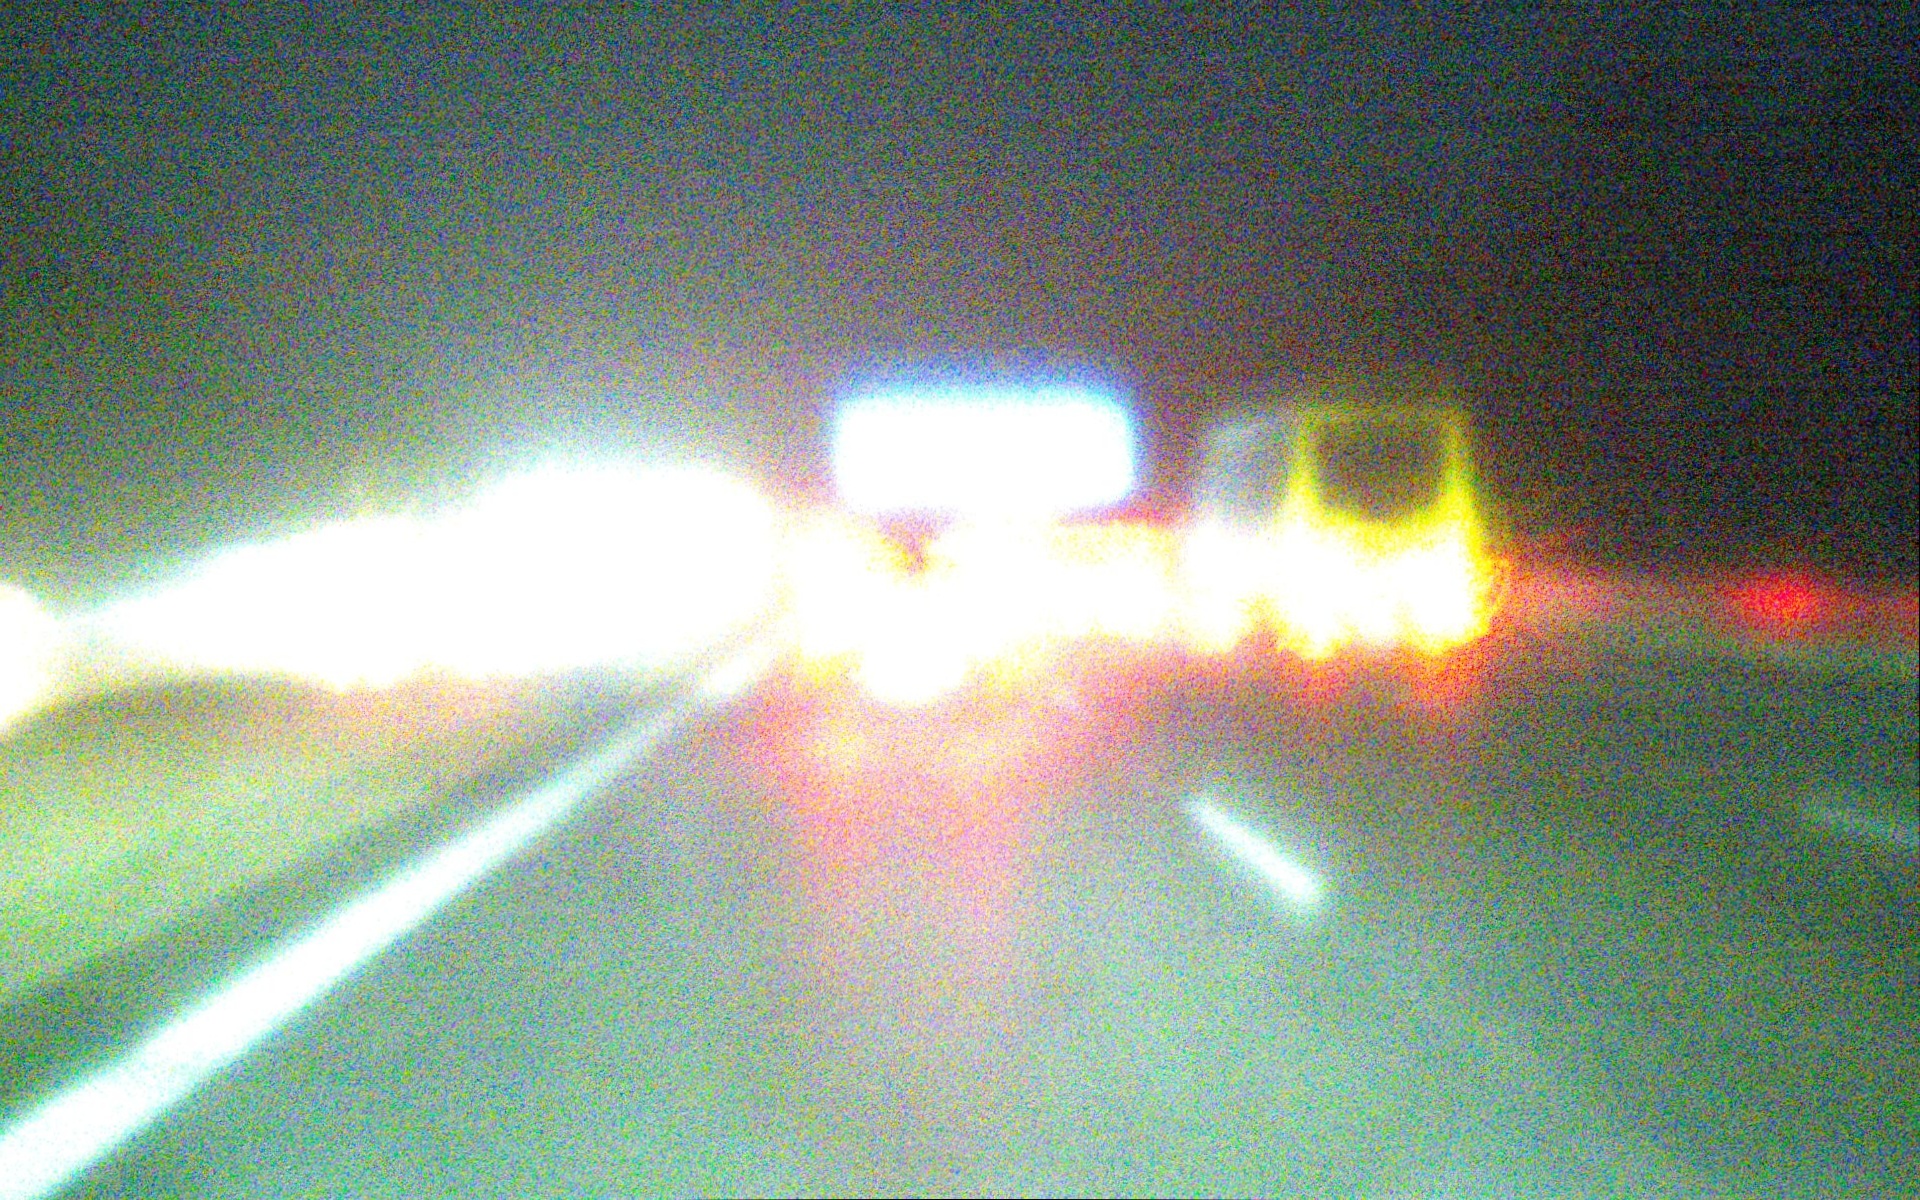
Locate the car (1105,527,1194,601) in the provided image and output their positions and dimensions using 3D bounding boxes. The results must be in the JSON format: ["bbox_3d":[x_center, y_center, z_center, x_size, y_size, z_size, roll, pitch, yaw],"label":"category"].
[{"bbox_3d":[5.359,-1.025,97.557,1.993,2.007,4.001,-2,1,-4],"label":"car"}]

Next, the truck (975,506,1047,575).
[{"bbox_3d":[2.526,-2.972,174.678,3.037,3.286,11.382,-2,1,-2],"label":"truck"}]

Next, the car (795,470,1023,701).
[{"bbox_3d":[-0.460,-0.146,32.007,1.993,2.007,4.000,0,1,0],"label":"car"}]

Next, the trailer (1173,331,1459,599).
[{"bbox_3d":[6.005,-2.188,60.754,3.041,4.094,13.830,-2,1,-2],"label":"trailer"}]

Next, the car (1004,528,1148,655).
[{"bbox_3d":[1.923,-0.161,58.259,1.993,2.007,4.001,-2,1,-4],"label":"car"}]

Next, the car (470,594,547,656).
[{"bbox_3d":[-14.542,0.789,110.935,1.993,1.755,4.655,1,2,-2],"label":"car"}]

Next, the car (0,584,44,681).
[{"bbox_3d":[-17.580,0.598,60.068,1.916,1.678,4.506,-2,0,0],"label":"car"}]

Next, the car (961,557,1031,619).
[{"bbox_3d":[1.208,-0.407,117.013,1.993,2.007,4.001,-2,1,-4],"label":"car"}]
